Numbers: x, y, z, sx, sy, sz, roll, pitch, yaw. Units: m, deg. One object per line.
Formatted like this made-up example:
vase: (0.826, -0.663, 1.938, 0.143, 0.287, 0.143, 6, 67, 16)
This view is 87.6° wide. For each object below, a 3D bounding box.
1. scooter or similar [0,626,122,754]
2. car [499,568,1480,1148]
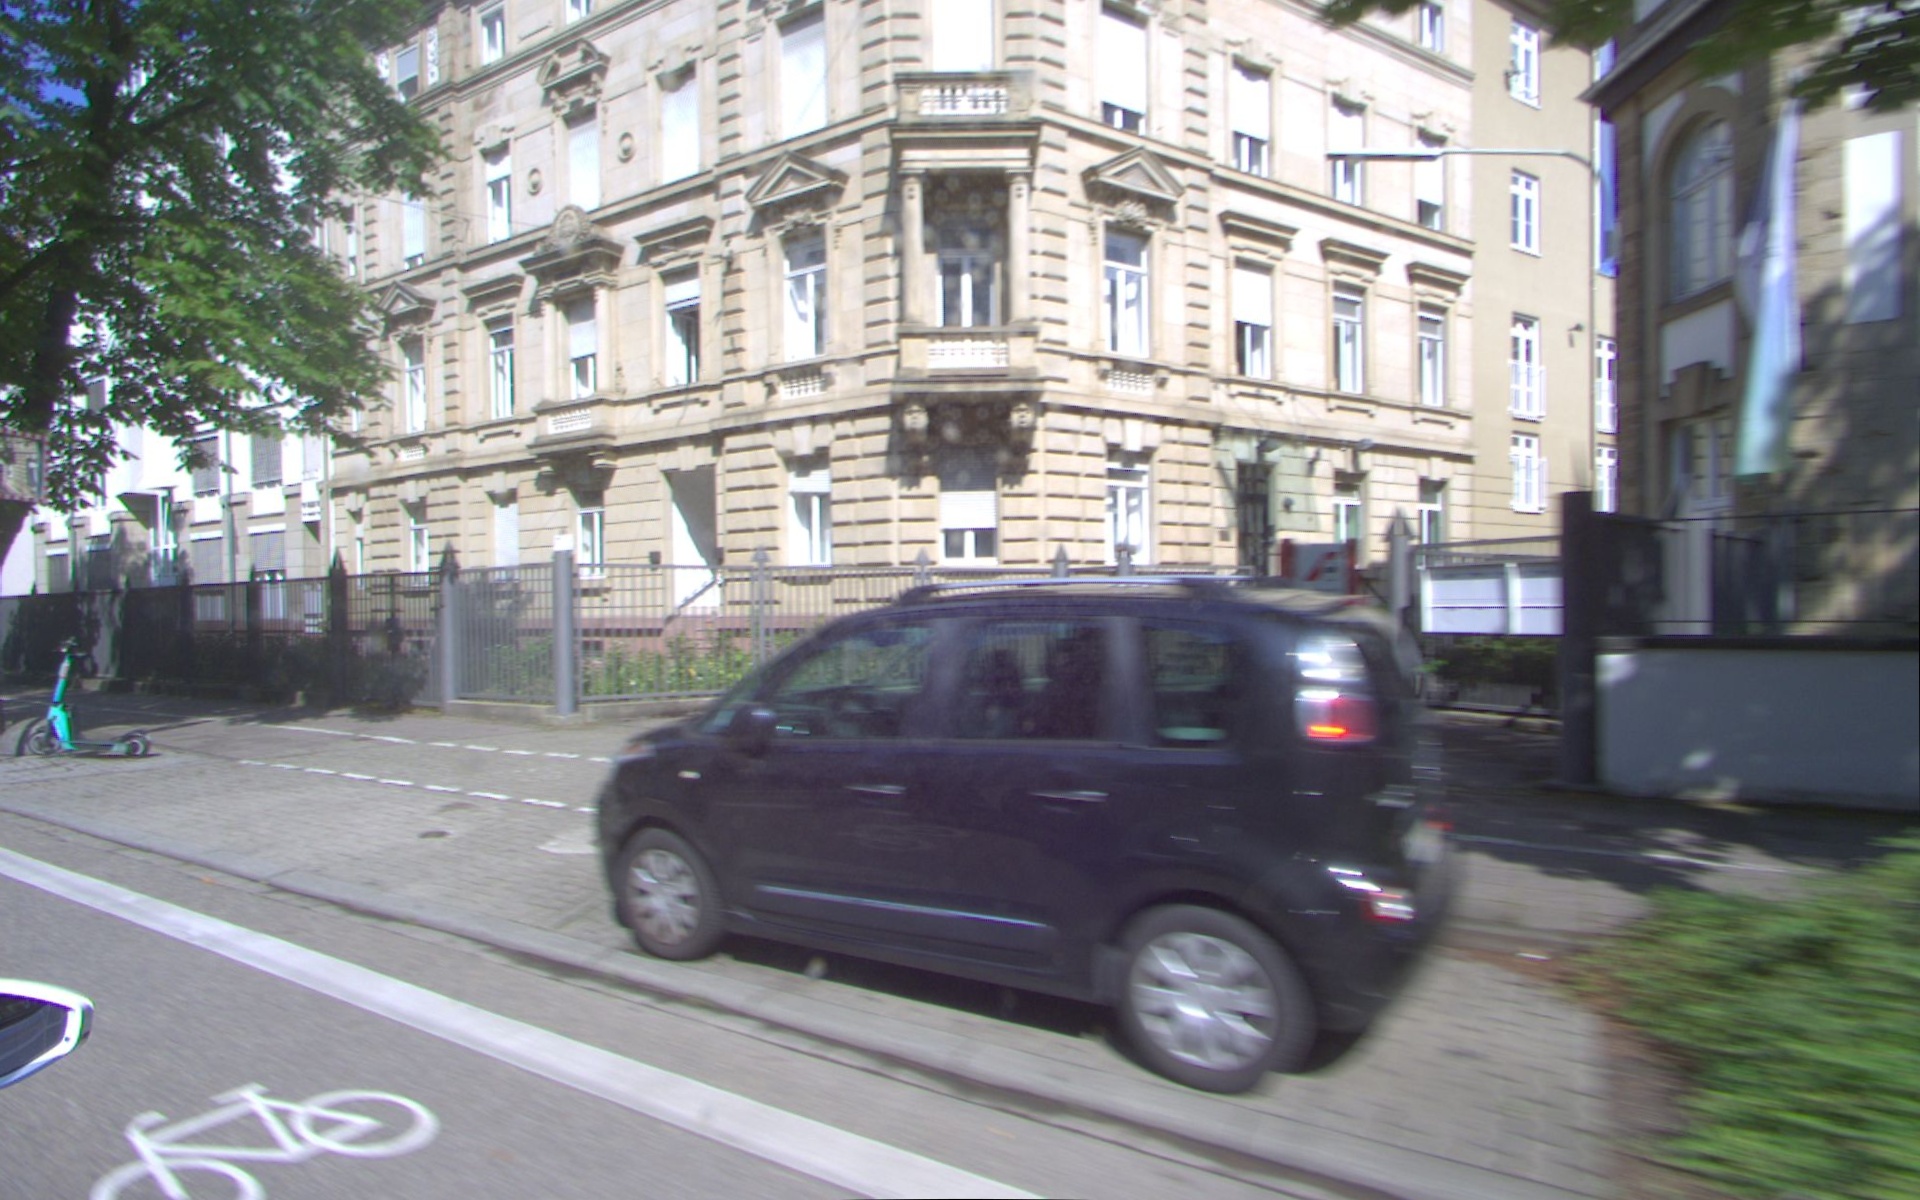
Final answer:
scooter or similar: (-9.830, 0.963, 10.784, 1.159, 1.318, 0.441, 0, 4, 1)
car: (-0.012, 0.738, 4.556, 4.141, 1.612, 1.693, -1, 1, 31)
